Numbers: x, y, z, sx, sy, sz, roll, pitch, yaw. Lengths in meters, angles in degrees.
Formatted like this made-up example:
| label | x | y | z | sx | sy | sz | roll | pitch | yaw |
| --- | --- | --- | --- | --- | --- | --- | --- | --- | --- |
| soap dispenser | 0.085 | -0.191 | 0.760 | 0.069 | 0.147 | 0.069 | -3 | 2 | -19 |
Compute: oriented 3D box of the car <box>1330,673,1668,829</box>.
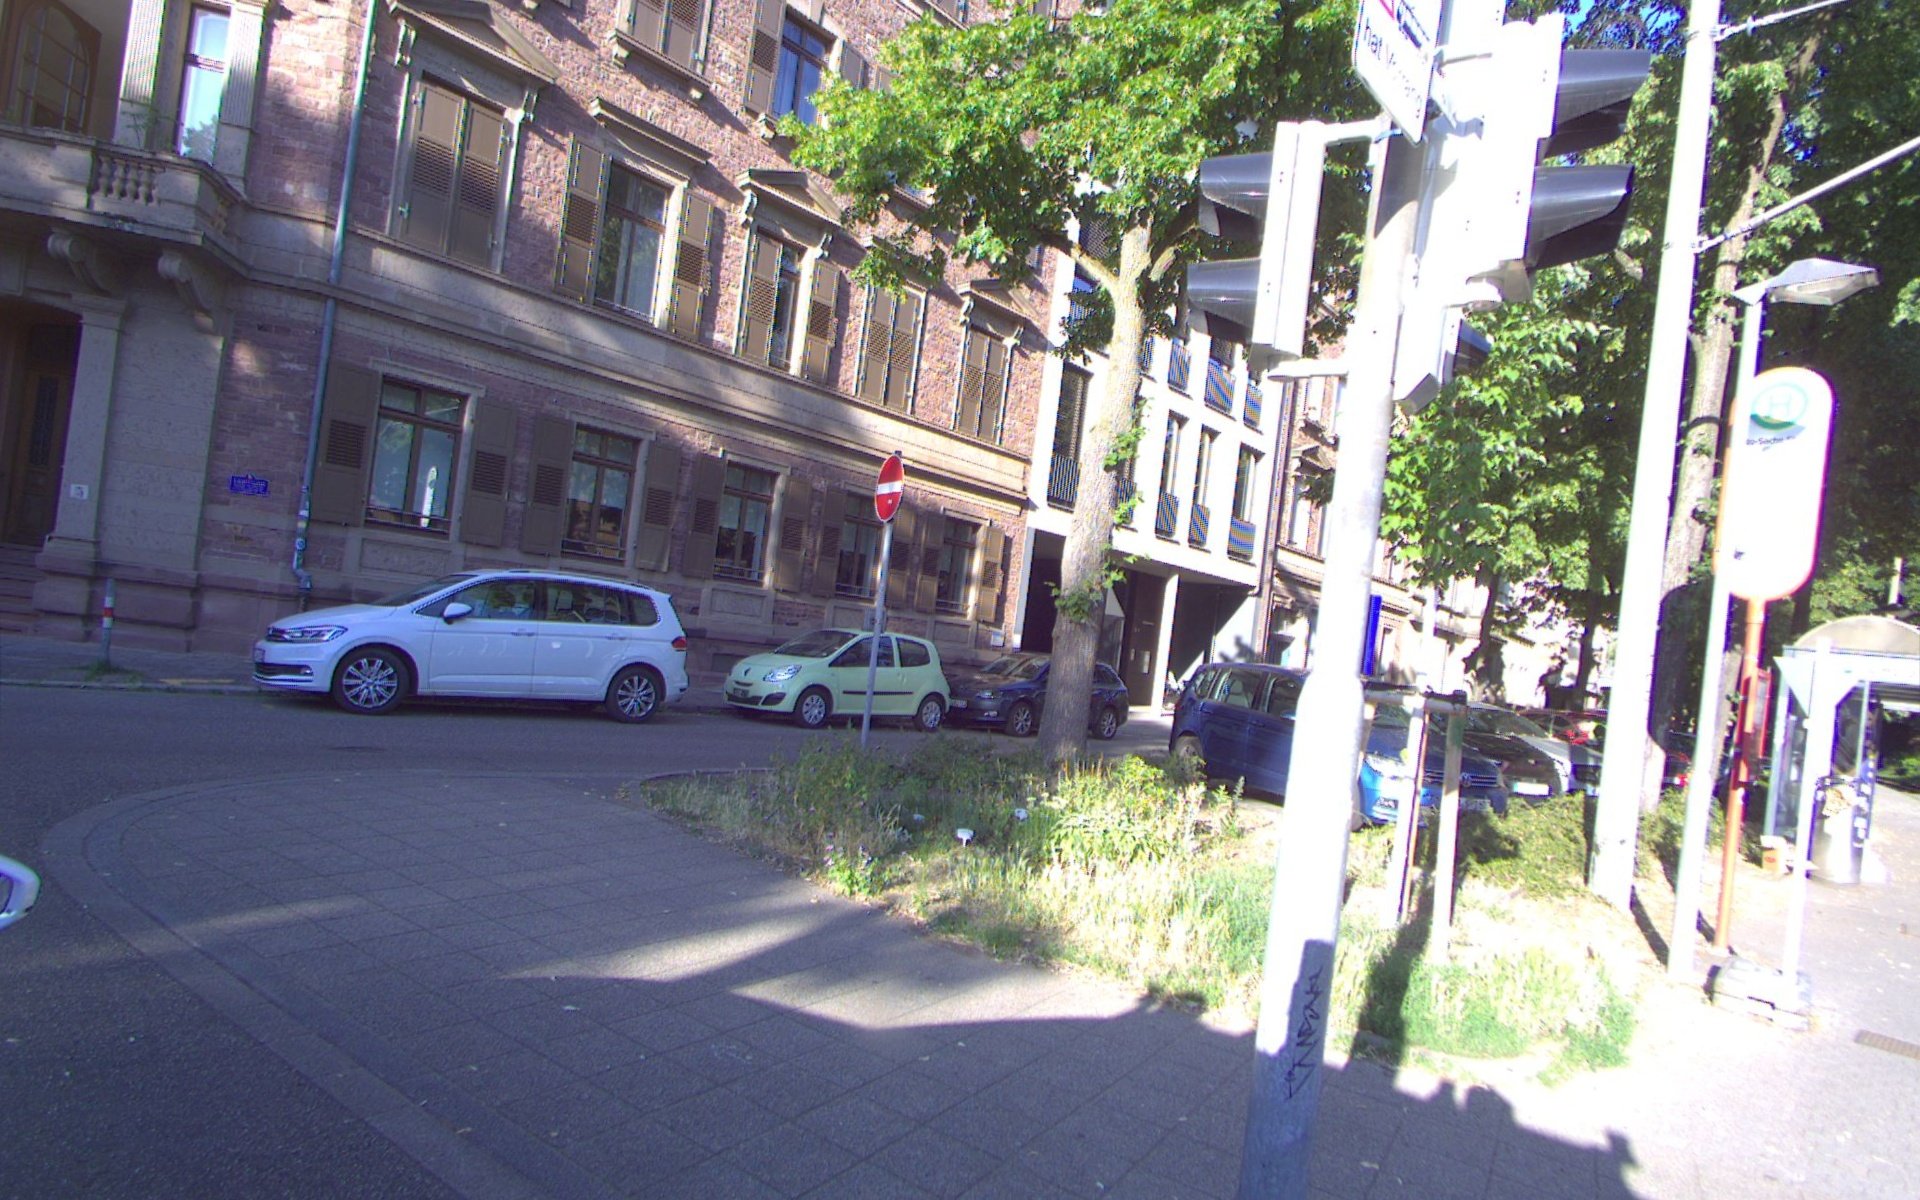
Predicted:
| label | x | y | z | sx | sy | sz | roll | pitch | yaw |
| --- | --- | --- | --- | --- | --- | --- | --- | --- | --- |
| car | 8.049 | 2.201 | 15.631 | 1.900 | 1.504 | 4.539 | 8 | -1 | -15 |

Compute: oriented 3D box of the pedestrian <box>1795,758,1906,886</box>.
| label | x | y | z | sx | sy | sz | roll | pitch | yaw |
| --- | --- | --- | --- | --- | --- | --- | --- | --- | --- |
| pedestrian | 10.478 | 2.582 | 11.839 | 0.872 | 1.288 | 0.814 | 8 | -1 | -45 |

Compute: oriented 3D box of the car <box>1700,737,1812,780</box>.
| label | x | y | z | sx | sy | sz | roll | pitch | yaw |
| --- | --- | --- | --- | --- | --- | --- | --- | --- | --- |
| car | 39.410 | 7.824 | 49.930 | 1.722 | 1.294 | 3.987 | 8 | -1 | -15 |

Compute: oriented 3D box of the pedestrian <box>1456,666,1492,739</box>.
| label | x | y | z | sx | sy | sz | roll | pitch | yaw |
| --- | --- | --- | --- | --- | --- | --- | --- | --- | --- |
| pedestrian | 21.829 | 4.359 | 42.740 | 0.908 | 2.982 | 0.697 | 7 | 0 | 41 |

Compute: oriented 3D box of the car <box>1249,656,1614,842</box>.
| label | x | y | z | sx | sy | sz | roll | pitch | yaw |
| --- | --- | --- | --- | --- | --- | --- | --- | --- | --- |
| car | 6.132 | 1.874 | 13.836 | 1.900 | 1.654 | 4.539 | 8 | -1 | -15 |

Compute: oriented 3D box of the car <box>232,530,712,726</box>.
| label | x | y | z | sx | sy | sz | roll | pitch | yaw |
| --- | --- | --- | --- | --- | --- | --- | --- | --- | --- |
| car | -5.357 | 0.426 | 11.502 | 1.852 | 1.667 | 4.474 | 3 | -5 | 45 |

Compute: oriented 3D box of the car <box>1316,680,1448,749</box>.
| label | x | y | z | sx | sy | sz | roll | pitch | yaw |
| --- | --- | --- | --- | --- | --- | --- | --- | --- | --- |
| car | 12.678 | 3.446 | 30.068 | 1.974 | 1.586 | 4.570 | 7 | -1 | 44 |

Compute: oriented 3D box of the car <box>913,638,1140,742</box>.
| label | x | y | z | sx | sy | sz | roll | pitch | yaw |
| --- | --- | --- | --- | --- | --- | --- | --- | --- | --- |
| car | 1.302 | 1.677 | 18.280 | 4.142 | 1.506 | 1.721 | 9 | -5 | -44 |

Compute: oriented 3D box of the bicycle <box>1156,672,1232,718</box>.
| label | x | y | z | sx | sy | sz | roll | pitch | yaw |
| --- | --- | --- | --- | --- | --- | --- | --- | --- | --- |
| bicycle | 7.052 | 2.861 | 30.308 | 2.066 | 1.129 | 0.680 | 8 | -1 | -18 |

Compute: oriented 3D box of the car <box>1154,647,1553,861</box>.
| label | x | y | z | sx | sy | sz | roll | pitch | yaw |
| --- | --- | --- | --- | --- | --- | --- | --- | --- | --- |
| car | 4.147 | 1.564 | 11.509 | 1.717 | 1.706 | 4.406 | 8 | -3 | -18 |

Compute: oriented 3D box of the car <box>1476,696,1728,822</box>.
| label | x | y | z | sx | sy | sz | roll | pitch | yaw |
| --- | --- | --- | --- | --- | --- | --- | --- | --- | --- |
| car | 13.312 | 3.234 | 21.276 | 1.896 | 1.742 | 4.549 | 8 | -1 | -6 |

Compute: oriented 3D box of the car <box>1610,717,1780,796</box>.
| label | x | y | z | sx | sy | sz | roll | pitch | yaw |
| --- | --- | --- | --- | --- | --- | --- | --- | --- | --- |
| car | 23.934 | 5.059 | 32.983 | 1.780 | 1.715 | 4.273 | 8 | -1 | -12 |

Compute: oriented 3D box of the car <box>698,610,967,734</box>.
| label | x | y | z | sx | sy | sz | roll | pitch | yaw |
| --- | --- | --- | --- | --- | --- | --- | --- | --- | --- |
| car | -1.830 | 1.139 | 15.280 | 1.720 | 1.506 | 3.707 | 3 | -5 | 43 |

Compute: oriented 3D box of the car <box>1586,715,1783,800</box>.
| label | x | y | z | sx | sy | sz | roll | pitch | yaw |
| --- | --- | --- | --- | --- | --- | --- | --- | --- | --- |
| car | 20.086 | 4.327 | 28.156 | 1.780 | 1.504 | 4.273 | 8 | -1 | -12 |

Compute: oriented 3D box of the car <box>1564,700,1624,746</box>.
| label | x | y | z | sx | sy | sz | roll | pitch | yaw |
| --- | --- | --- | --- | --- | --- | --- | --- | --- | --- |
| car | 35.862 | 6.961 | 56.820 | 1.972 | 2.198 | 4.593 | 8 | -1 | 41 |
